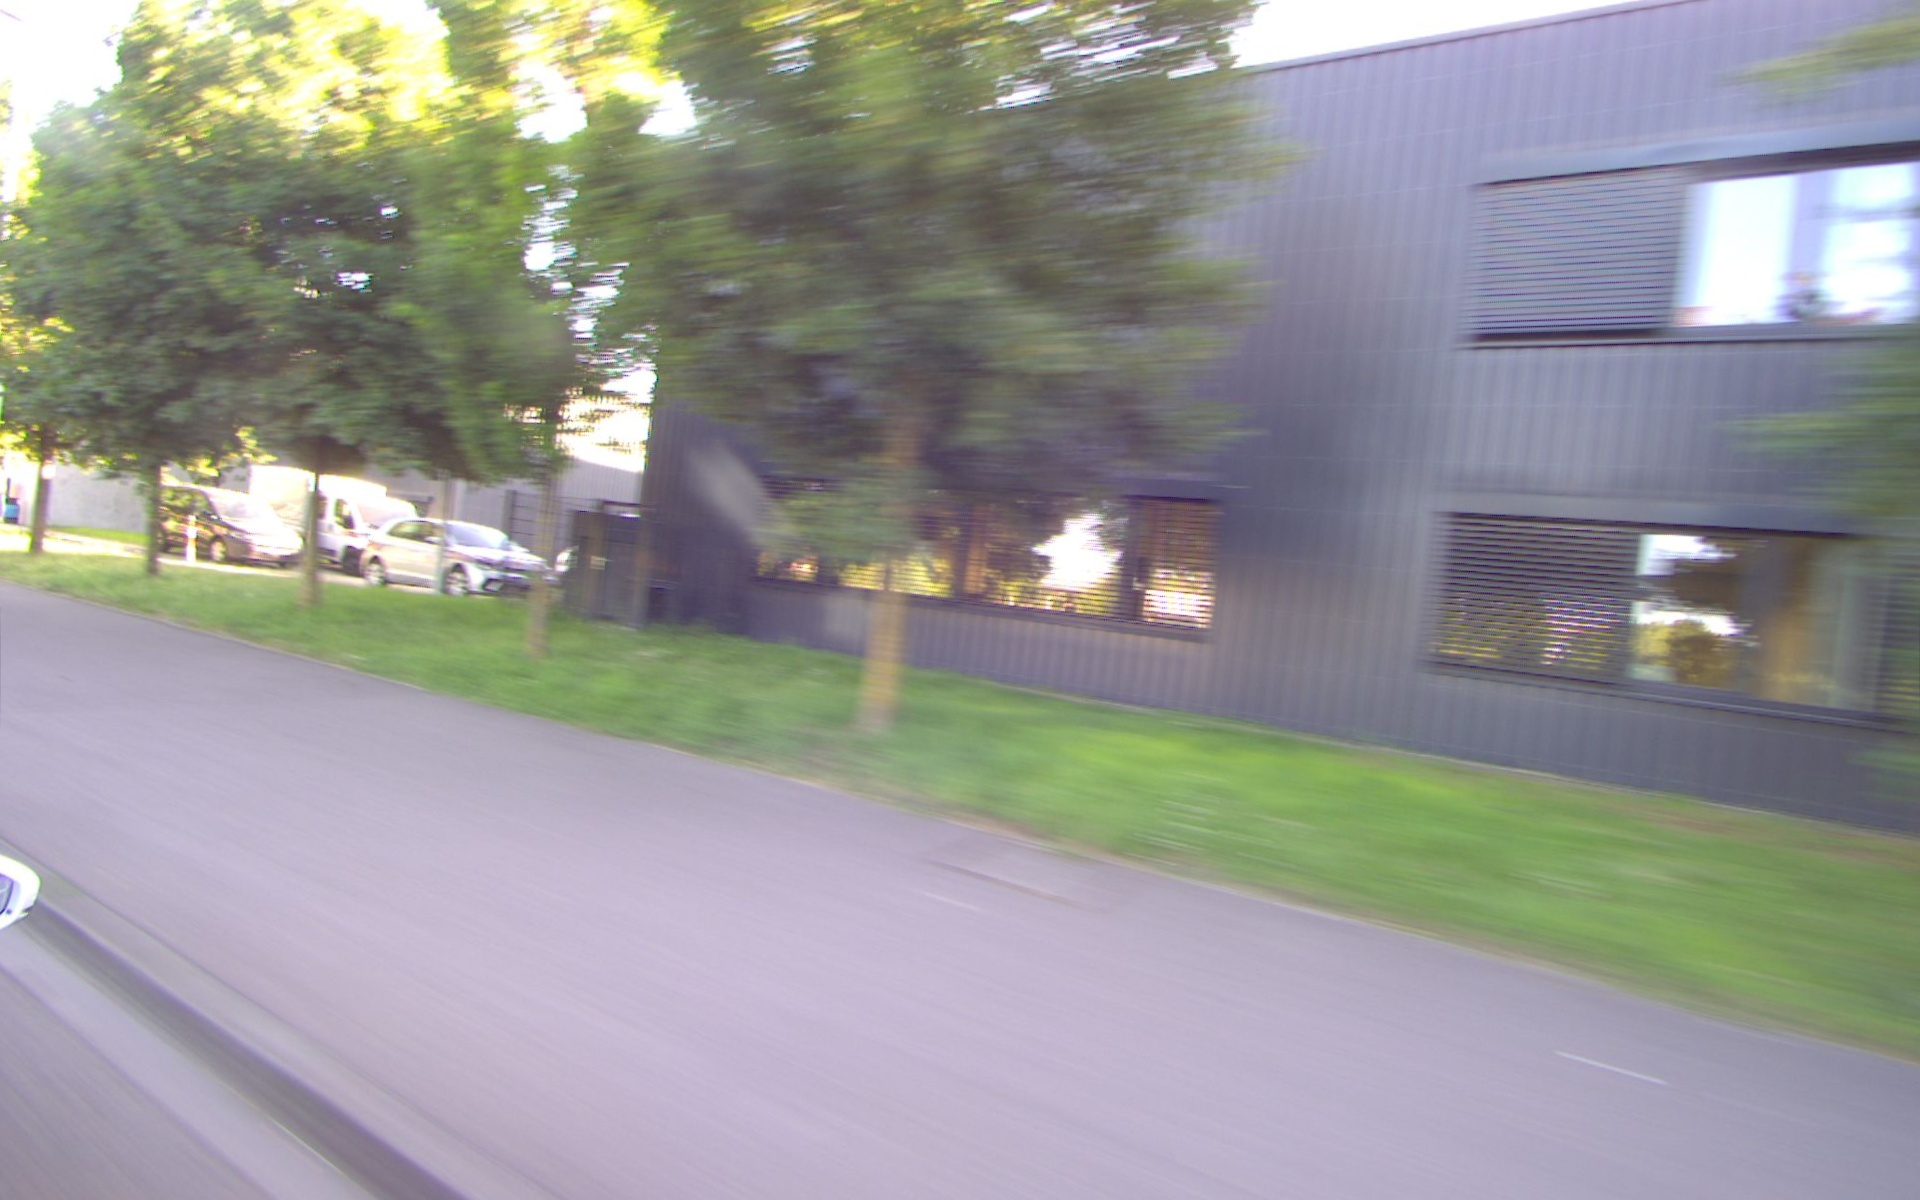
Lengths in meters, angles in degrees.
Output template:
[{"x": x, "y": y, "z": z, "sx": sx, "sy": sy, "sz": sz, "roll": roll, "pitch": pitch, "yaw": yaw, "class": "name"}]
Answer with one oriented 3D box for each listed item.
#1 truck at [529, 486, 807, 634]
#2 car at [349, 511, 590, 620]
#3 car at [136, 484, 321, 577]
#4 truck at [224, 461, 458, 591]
[{"x": -6.834, "y": -0.968, "z": 23.222, "sx": 6.295, "sy": 2.708, "sz": 2.286, "roll": 6, "pitch": -2, "yaw": 32, "class": "truck"}, {"x": -9.122, "y": -0.653, "z": 18.664, "sx": 4.206, "sy": 1.483, "sz": 1.840, "roll": 6, "pitch": -2, "yaw": 29, "class": "car"}, {"x": -18.892, "y": -1.800, "z": 25.949, "sx": 4.584, "sy": 1.835, "sz": 1.841, "roll": 6, "pitch": -2, "yaw": 27, "class": "car"}, {"x": -17.823, "y": -2.161, "z": 28.863, "sx": 6.631, "sy": 2.871, "sz": 2.366, "roll": 7, "pitch": -1, "yaw": 27, "class": "truck"}]
